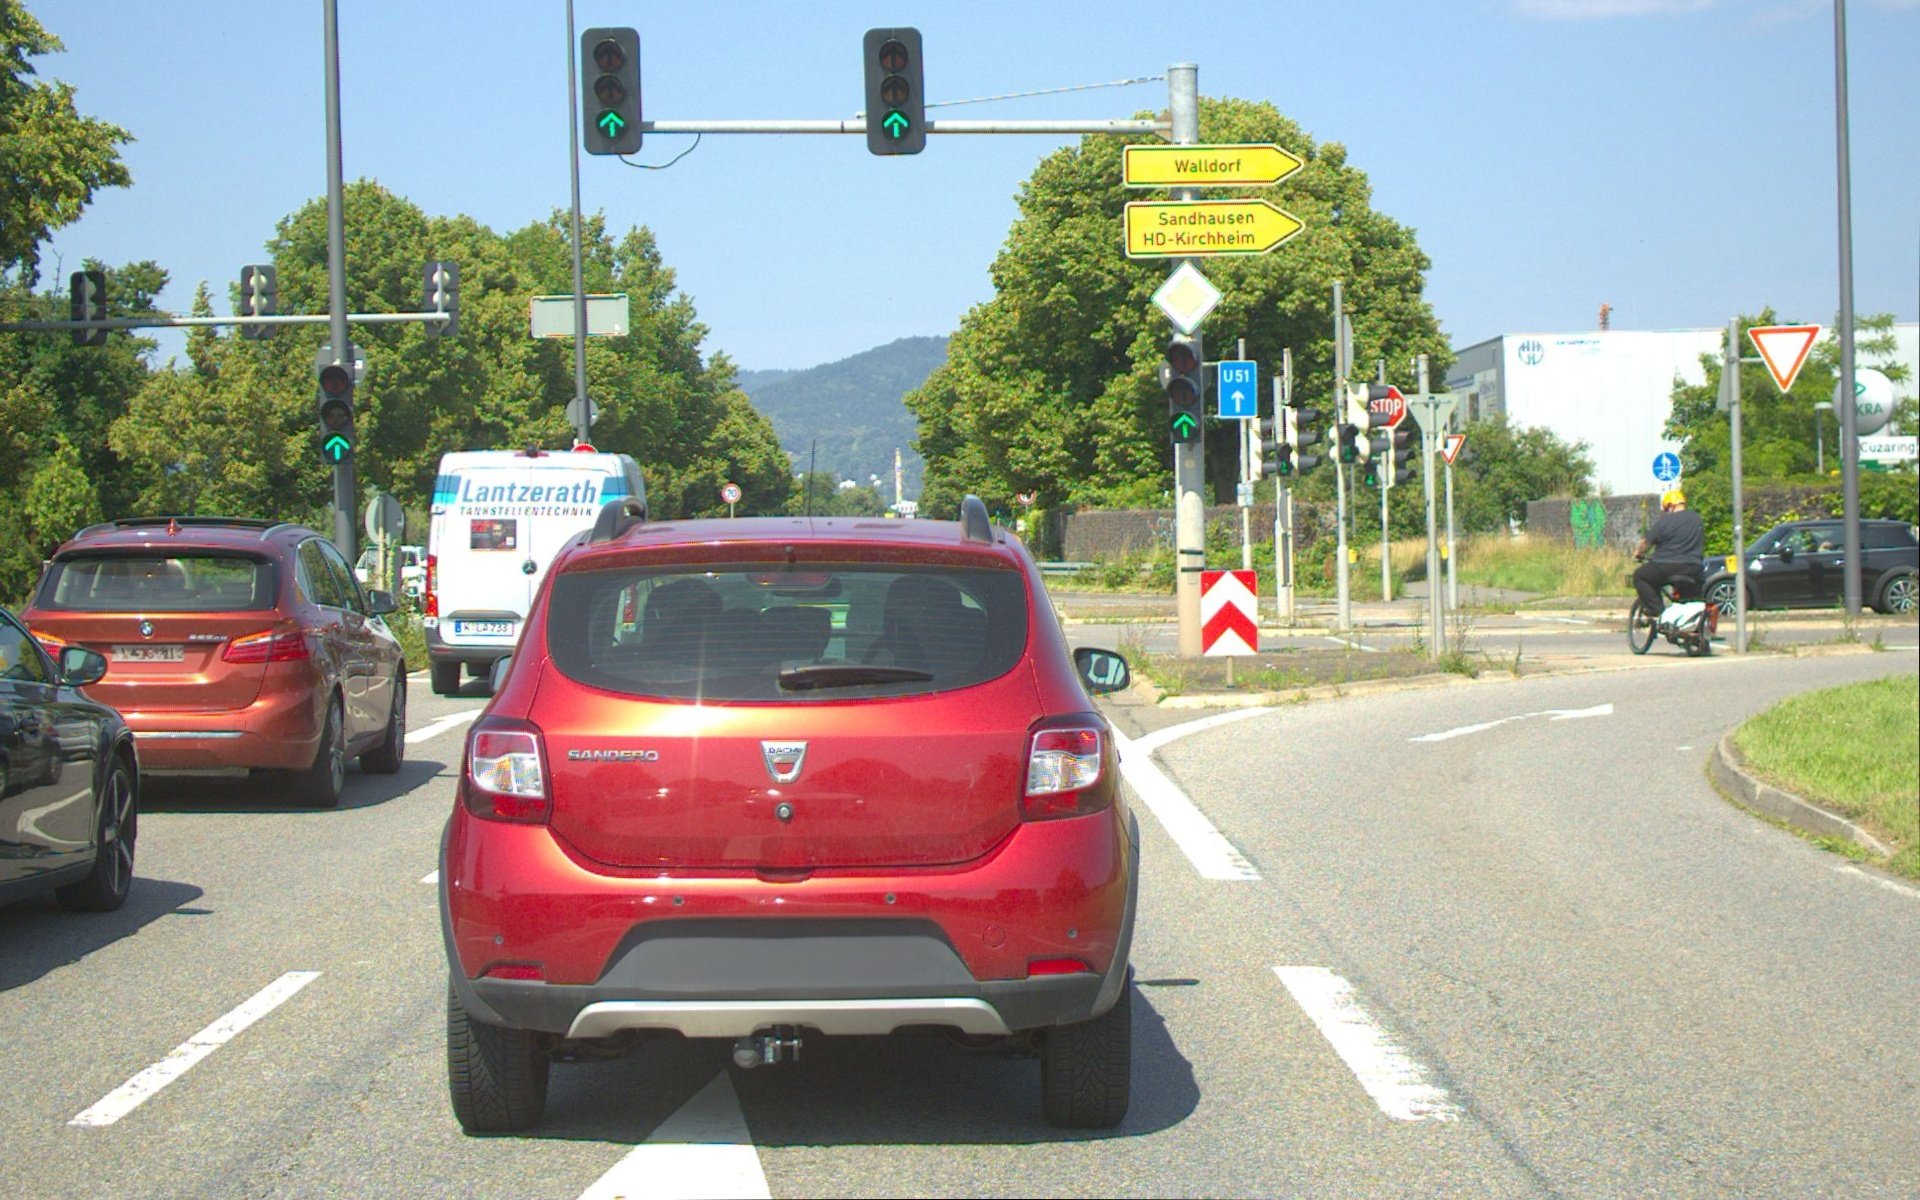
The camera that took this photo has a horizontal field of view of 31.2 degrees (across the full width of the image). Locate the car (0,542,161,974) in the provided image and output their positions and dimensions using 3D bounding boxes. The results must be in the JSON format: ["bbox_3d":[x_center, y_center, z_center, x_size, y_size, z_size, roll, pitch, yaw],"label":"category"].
[{"bbox_3d":[-4.116,0.537,12.073,1.702,1.437,3.956,0,2,0],"label":"car"}]

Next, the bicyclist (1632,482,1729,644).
[{"bbox_3d":[8.046,-0.417,38.411,0.802,1.765,0.809,-2,1,-8],"label":"bicyclist"}]

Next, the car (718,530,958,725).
[{"bbox_3d":[-0.926,0.168,27.868,1.749,1.453,3.676,0,1,1],"label":"car"}]

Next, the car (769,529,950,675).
[{"bbox_3d":[-1.022,-0.015,36.507,1.749,1.453,3.676,0,1,1],"label":"car"}]

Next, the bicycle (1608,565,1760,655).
[{"bbox_3d":[8.070,0.094,38.446,0.761,0.911,2.780,-2,1,-7],"label":"bicycle"}]

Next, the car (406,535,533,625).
[{"bbox_3d":[-9.720,-0.429,68.347,1.993,1.664,4.000,-2,1,-1],"label":"car"}]

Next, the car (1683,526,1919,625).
[{"bbox_3d":[12.550,-0.354,49.531,3.988,1.322,1.806,-2,0,7],"label":"car"}]

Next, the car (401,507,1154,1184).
[{"bbox_3d":[-0.397,0.532,9.821,1.749,1.570,3.676,0,1,1],"label":"car"}]

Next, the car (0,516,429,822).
[{"bbox_3d":[-4.248,0.320,19.942,1.724,1.594,3.956,0,1,0],"label":"car"}]

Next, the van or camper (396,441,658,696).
[{"bbox_3d":[-4.117,-0.332,33.435,2.179,2.295,4.827,0,1,-3],"label":"van or camper"}]
